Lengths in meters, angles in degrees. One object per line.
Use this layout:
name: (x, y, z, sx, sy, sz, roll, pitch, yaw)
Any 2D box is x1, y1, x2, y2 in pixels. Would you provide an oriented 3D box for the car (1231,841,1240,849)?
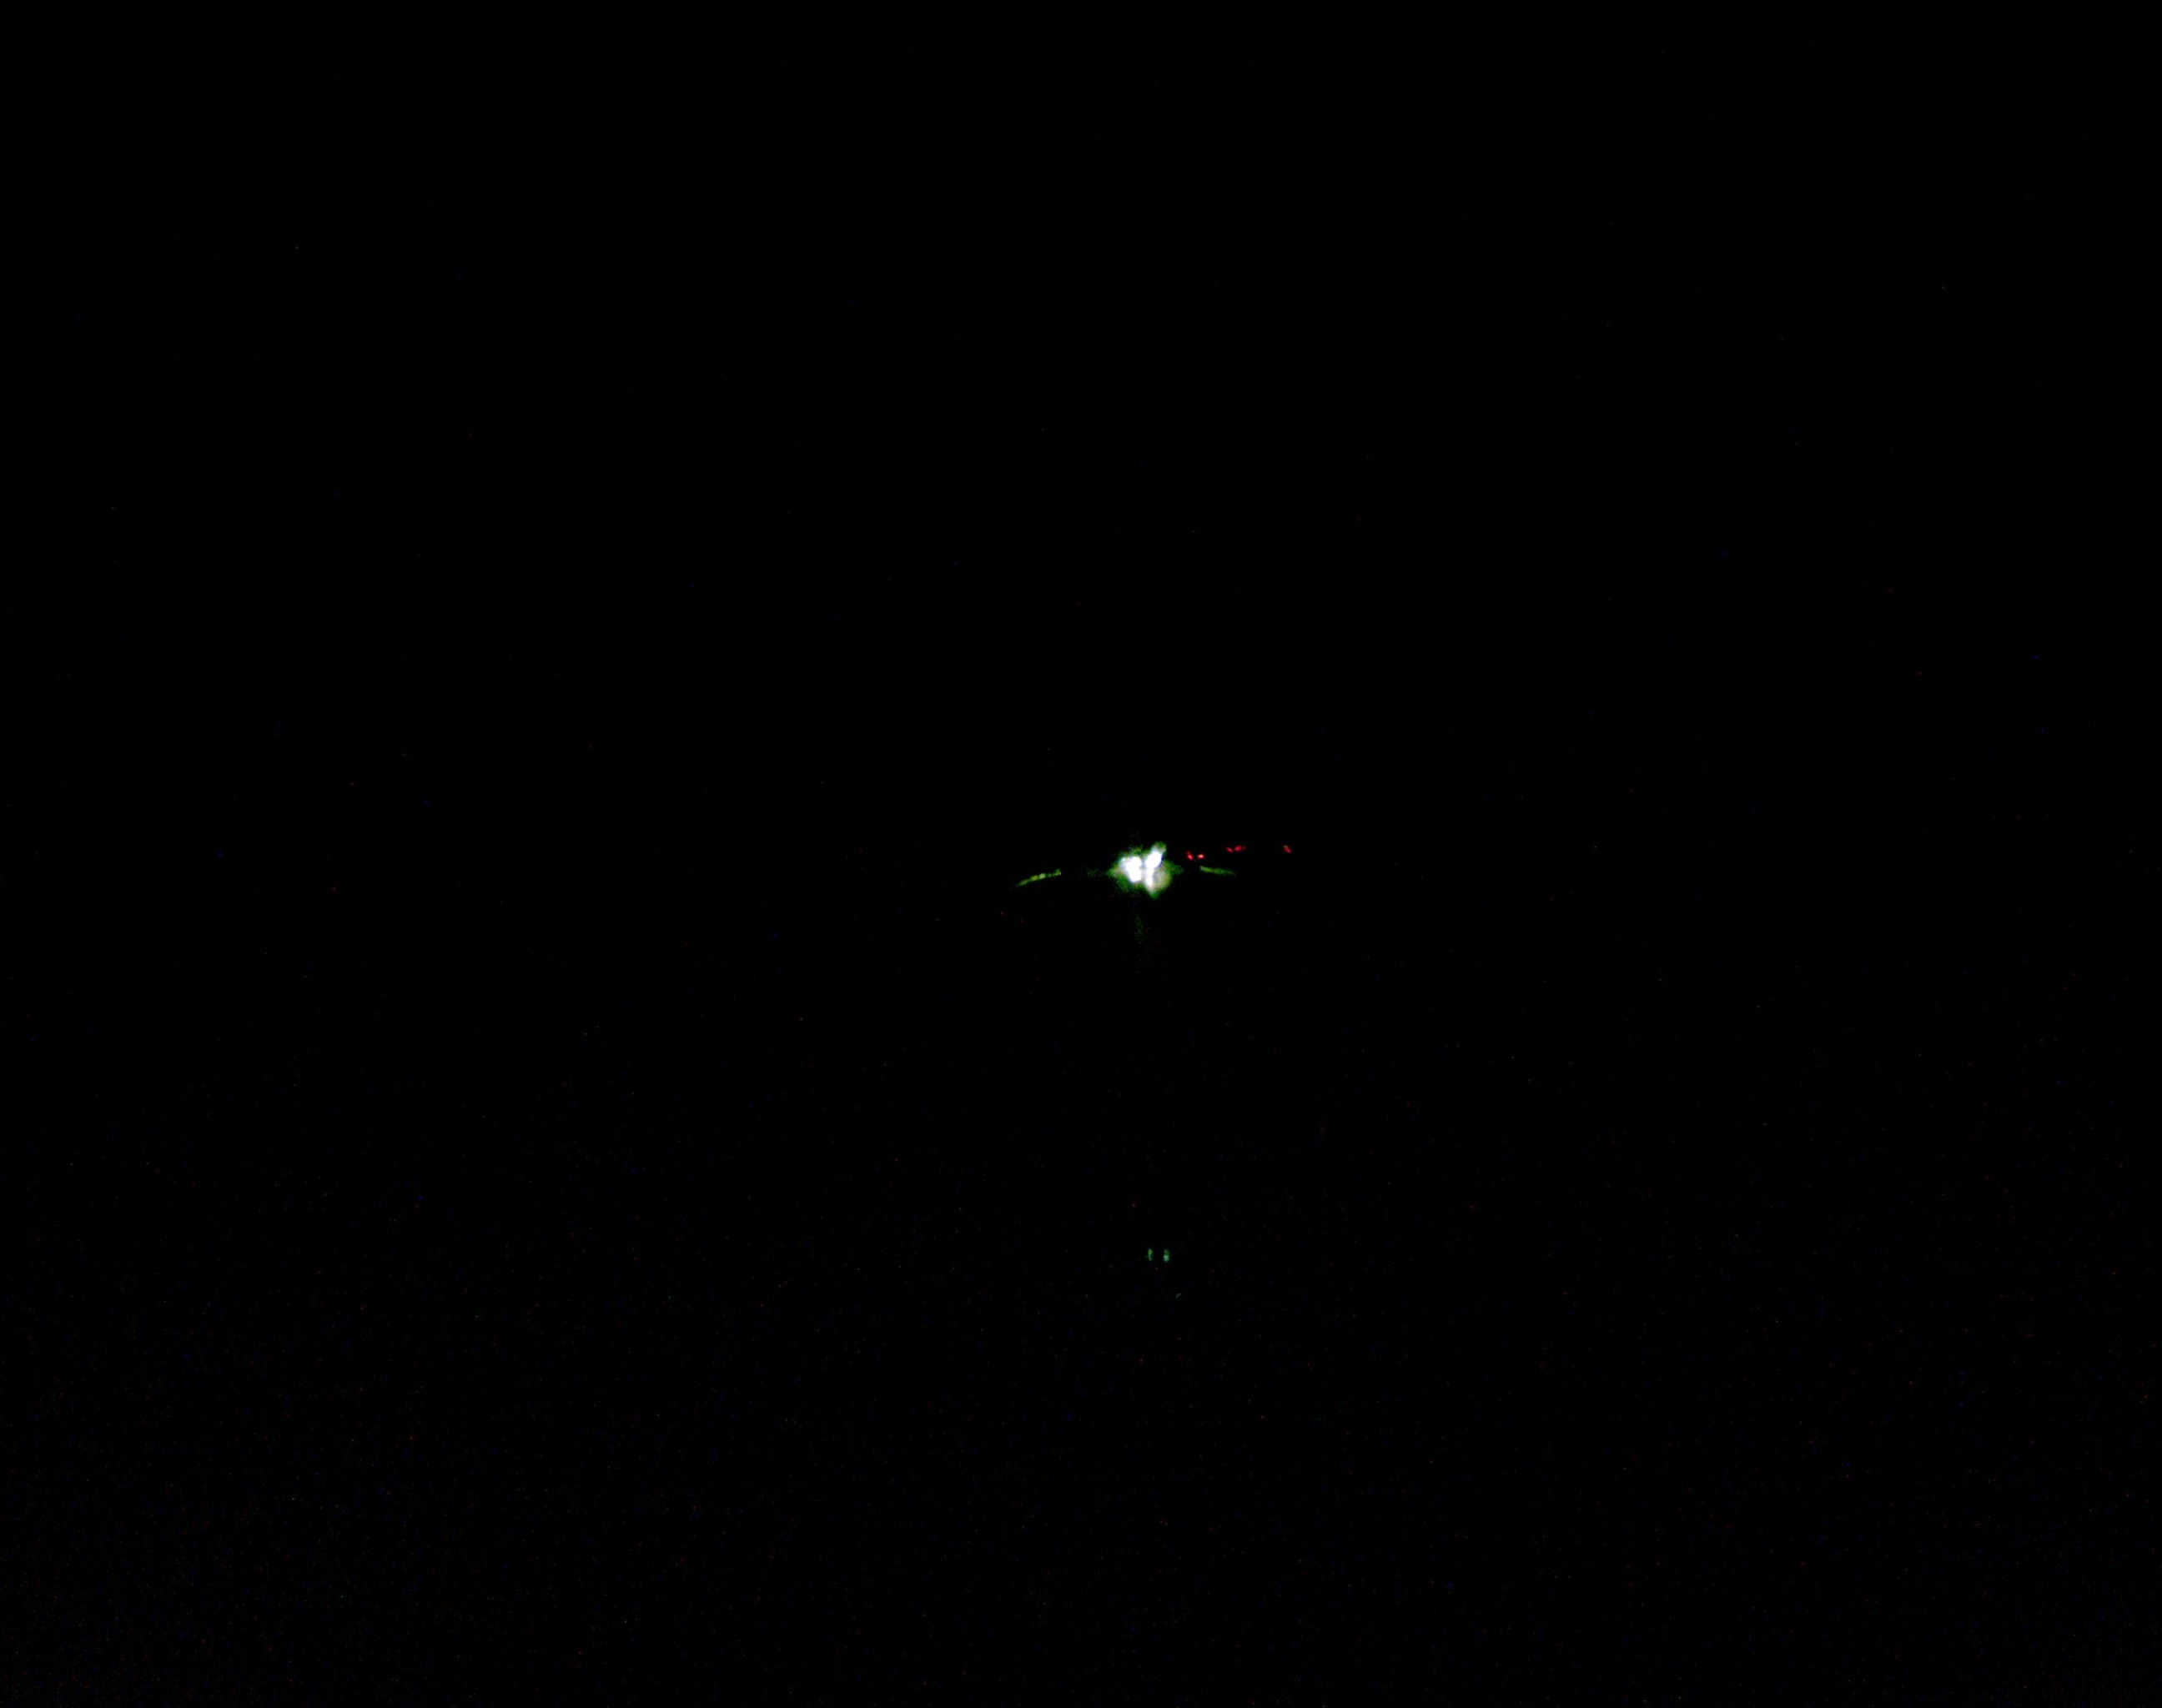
car: (36.459, -2.097, 179.074, 1.997, 1.740, 4.261, -3, 1, 12)

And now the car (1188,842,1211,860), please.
car: (13.912, -0.344, 89.394, 1.996, 1.915, 4.004, -3, 1, 18)

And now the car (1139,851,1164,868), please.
car: (7.139, 0.524, 76.507, 1.805, 1.452, 4.279, -3, 0, 14)
